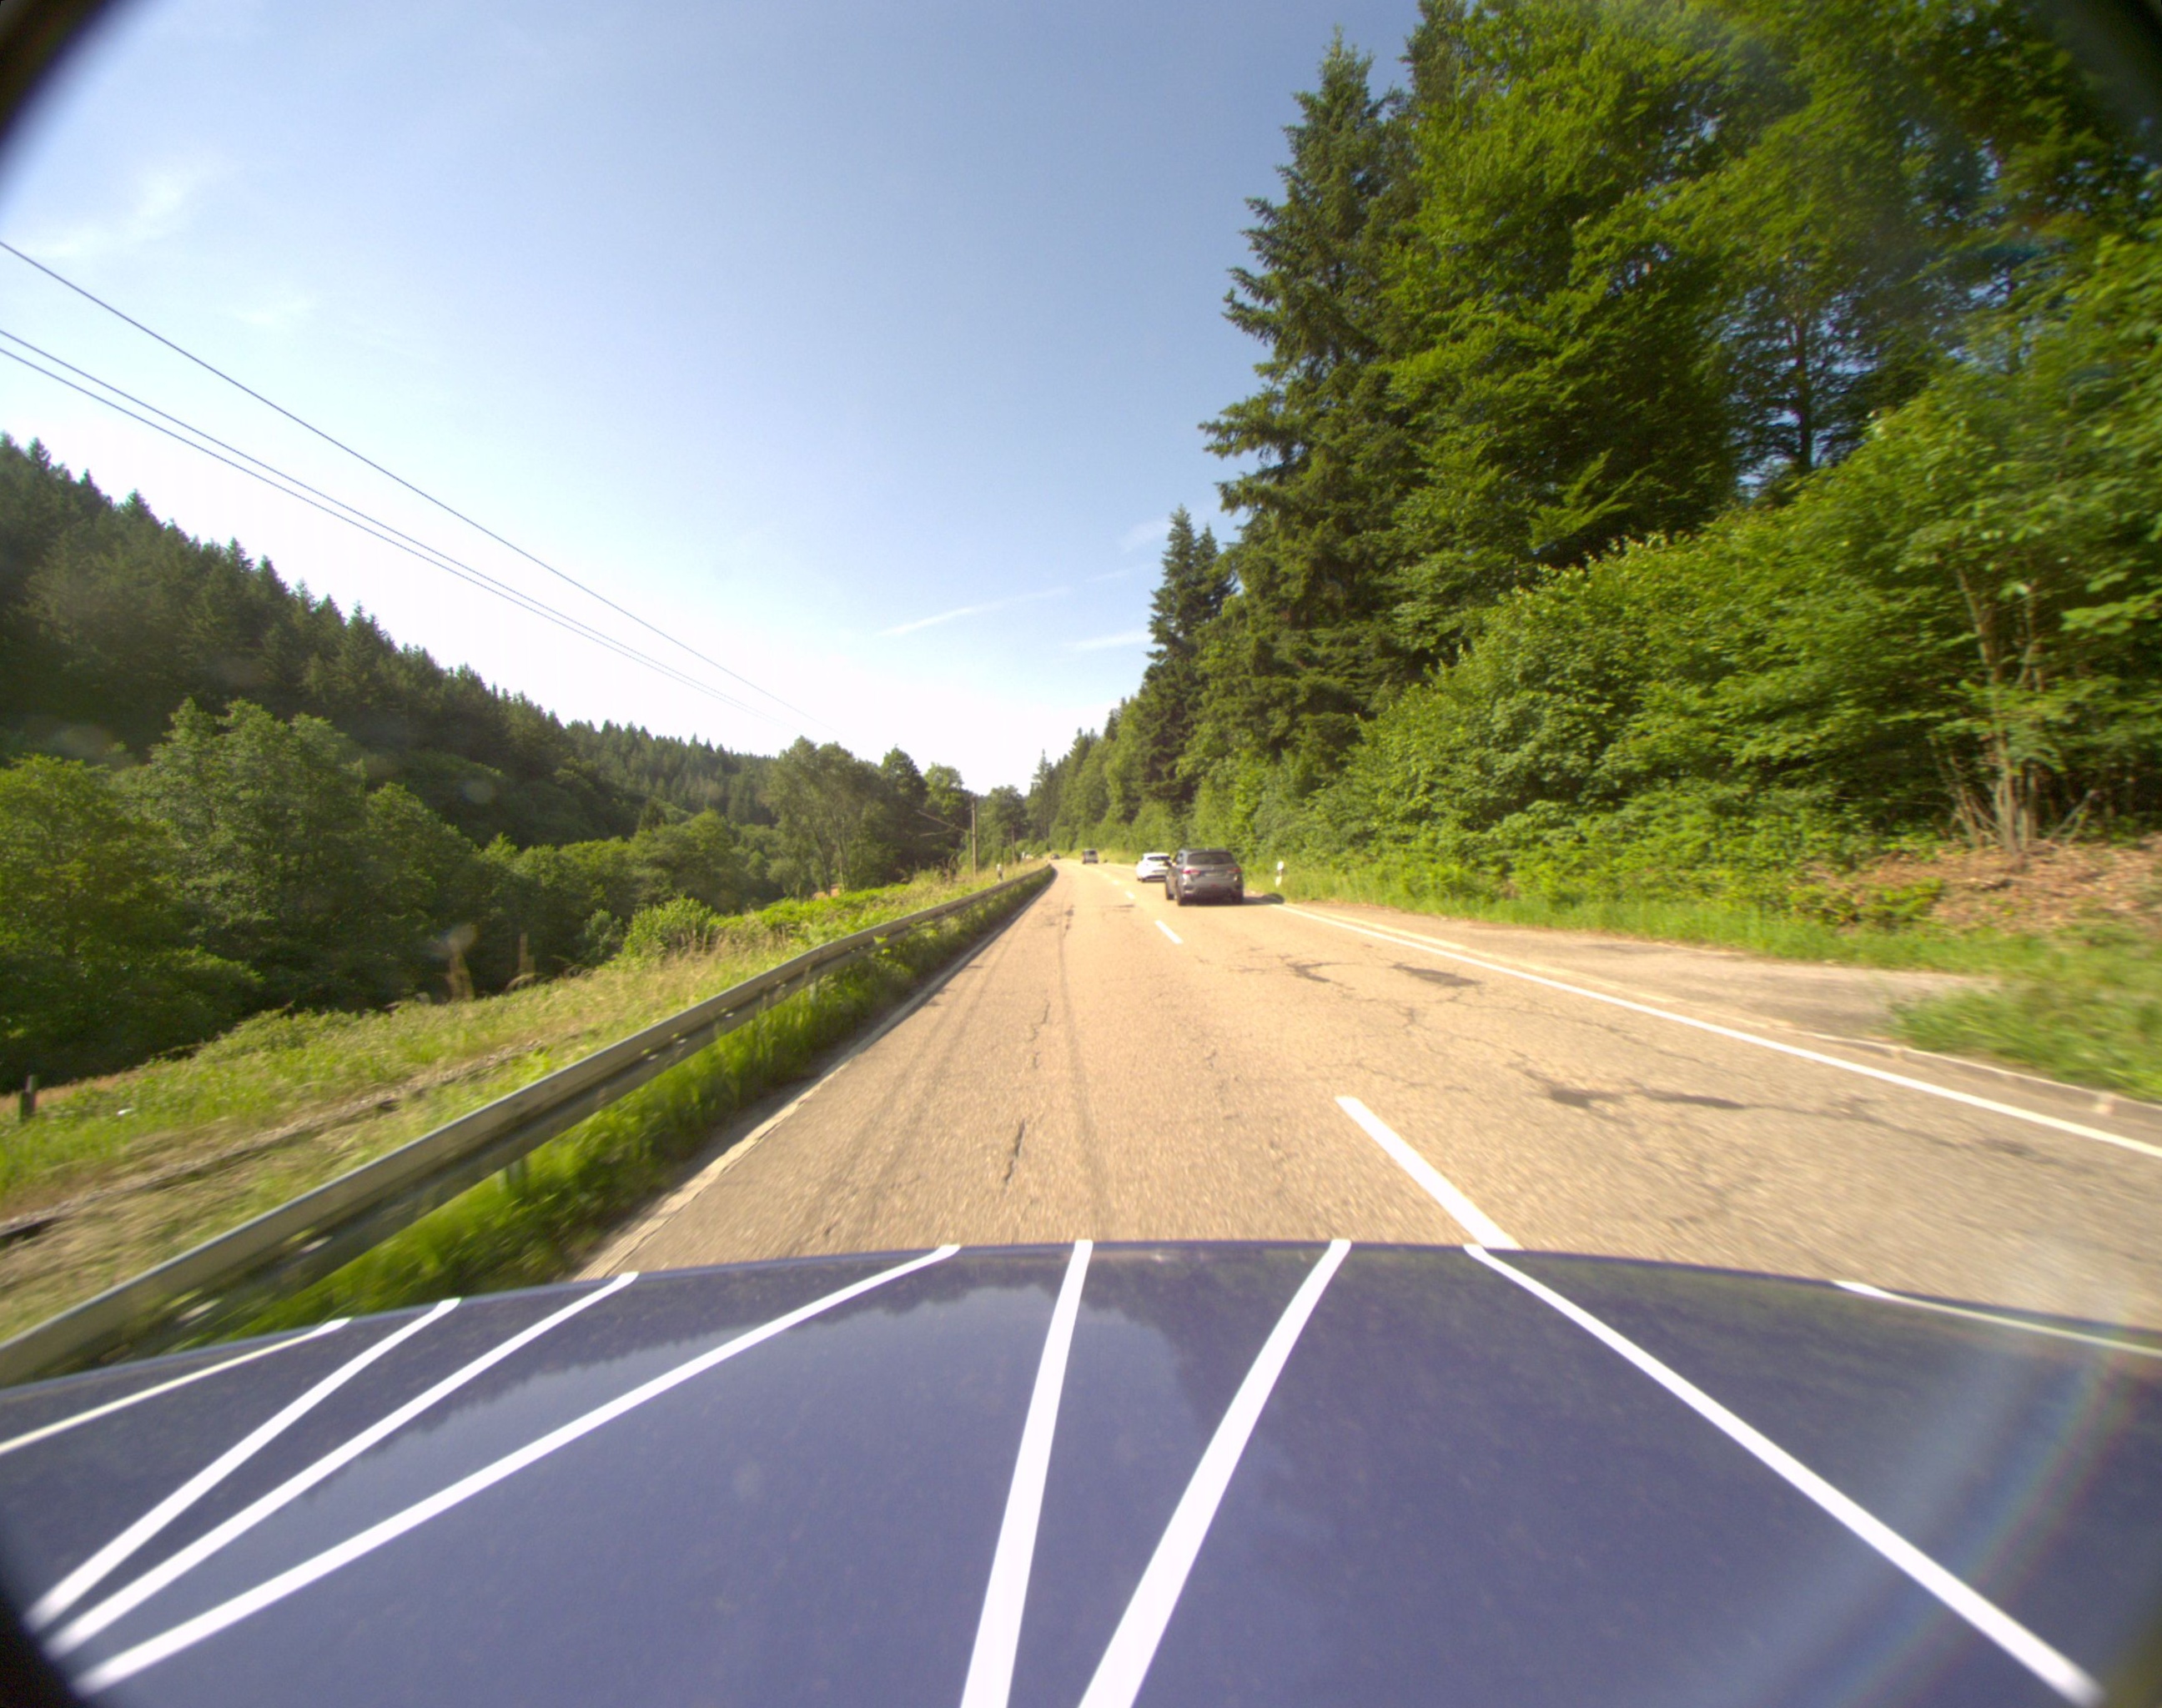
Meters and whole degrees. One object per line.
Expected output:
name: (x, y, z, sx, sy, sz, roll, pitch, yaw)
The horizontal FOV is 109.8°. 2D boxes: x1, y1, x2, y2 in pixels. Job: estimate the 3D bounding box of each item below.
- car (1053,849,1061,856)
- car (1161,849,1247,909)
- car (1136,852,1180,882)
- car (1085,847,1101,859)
car: (-5.889, -0.306, 183.053, 1.798, 1.601, 4.228, -1, 0, -3)
car: (3.533, 0.654, 22.681, 1.840, 1.572, 4.875, -1, 0, 1)
car: (3.826, 0.633, 38.402, 1.798, 1.357, 3.999, -1, 1, 0)
car: (1.541, -0.157, 101.337, 1.968, 1.568, 4.535, -1, 0, -1)
